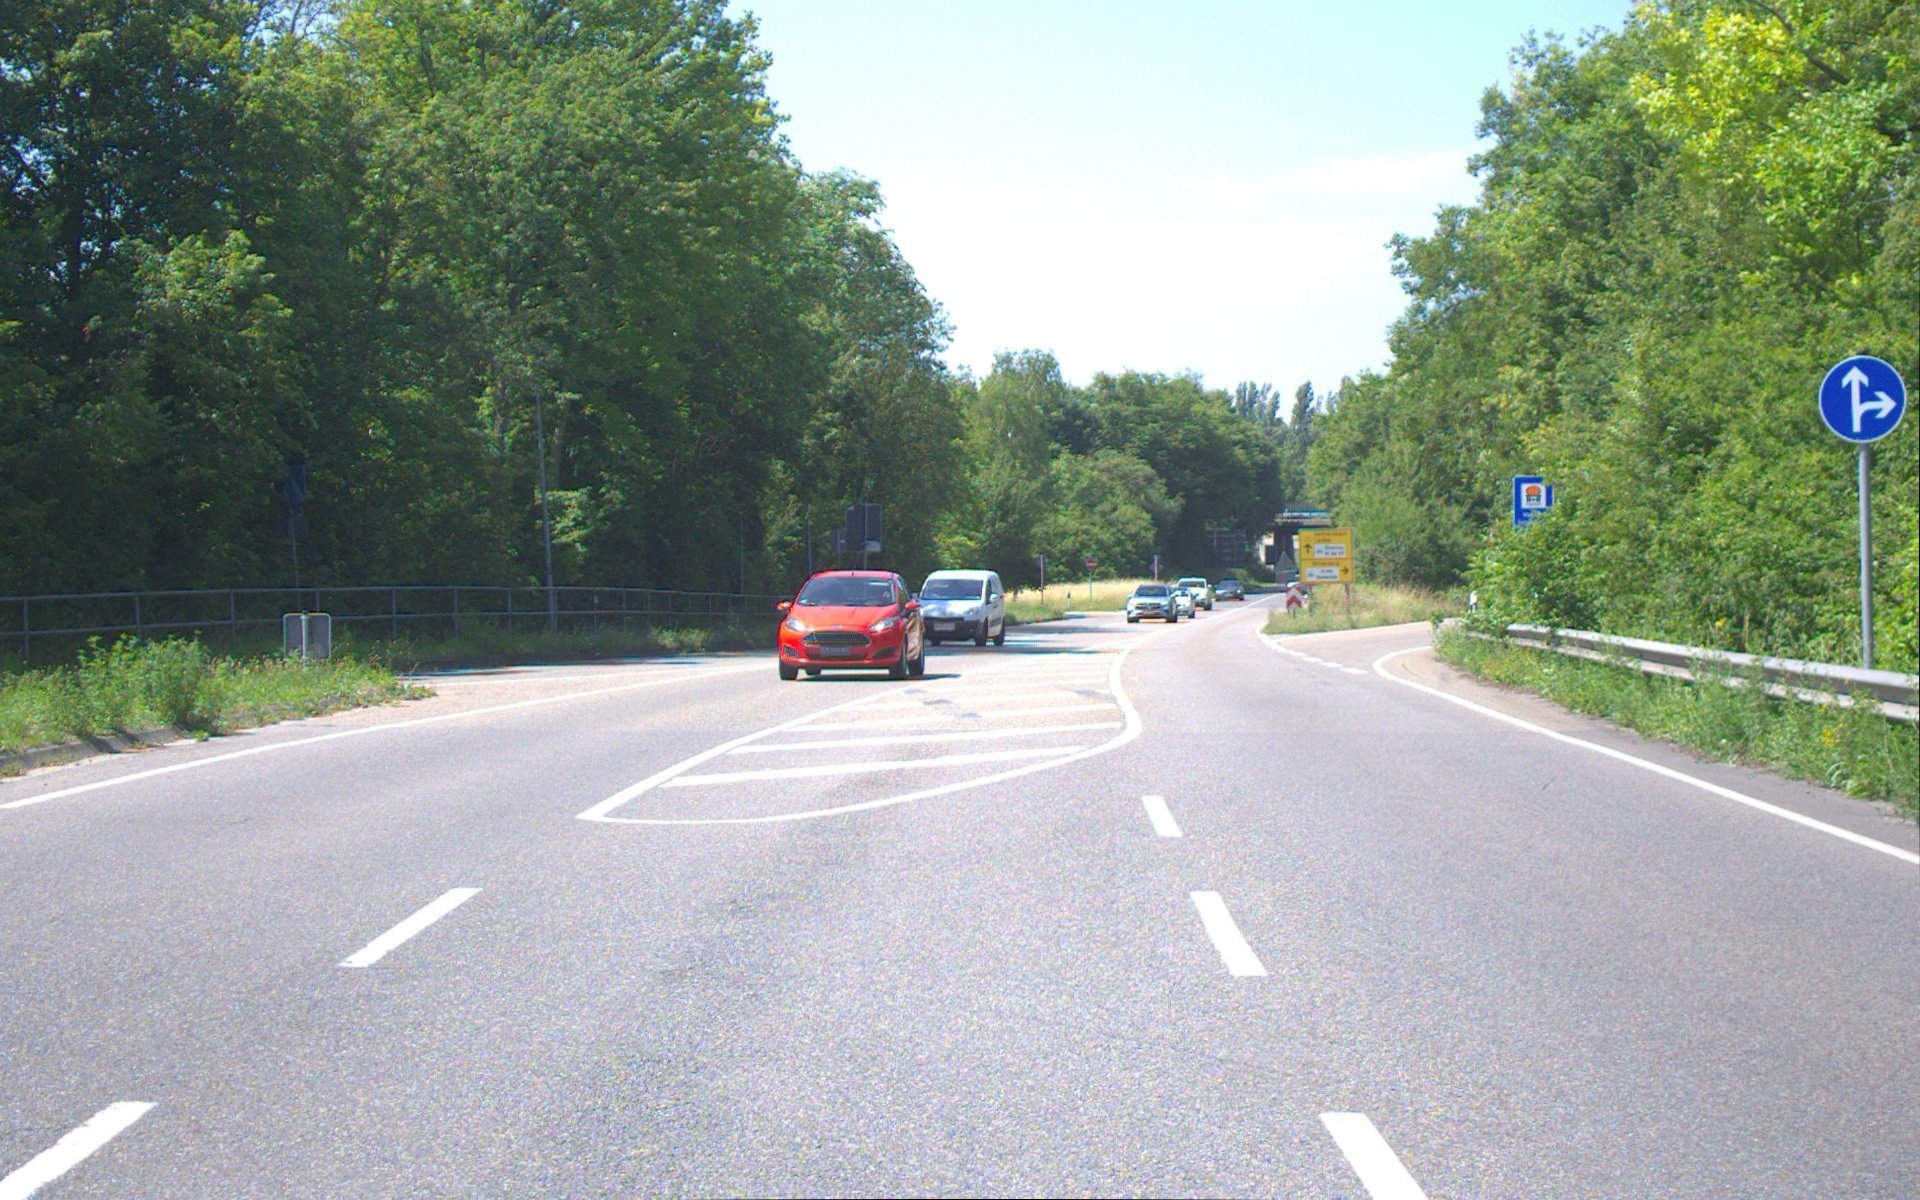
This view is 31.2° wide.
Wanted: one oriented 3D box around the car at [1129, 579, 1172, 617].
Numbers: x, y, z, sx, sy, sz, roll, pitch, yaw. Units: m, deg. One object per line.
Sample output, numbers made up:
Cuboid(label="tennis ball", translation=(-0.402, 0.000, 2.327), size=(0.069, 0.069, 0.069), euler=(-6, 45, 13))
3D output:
Cuboid(label="car", translation=(8.118, -0.086, 146.187), size=(1.677, 1.522, 3.999), euler=(0, 1, 5))

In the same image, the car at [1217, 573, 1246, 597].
Cuboid(label="car", translation=(17.678, -1.015, 223.909), size=(1.720, 1.504, 3.709), euler=(0, 1, 6))

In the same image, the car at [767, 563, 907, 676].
Cuboid(label="car", translation=(-1.633, 0.236, 46.839), size=(1.810, 1.453, 3.758), euler=(0, 1, -1))

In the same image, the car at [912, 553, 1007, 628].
Cuboid(label="car", translation=(0.008, -0.249, 81.882), size=(1.994, 1.724, 4.274), euler=(-1, 1, 3))

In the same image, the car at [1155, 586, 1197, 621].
Cuboid(label="car", translation=(10.162, 0.153, 161.556), size=(1.678, 1.522, 3.999), euler=(0, 1, 8))

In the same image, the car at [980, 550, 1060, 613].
Cuboid(label="car", translation=(3.093, -0.995, 178.743), size=(1.993, 3.215, 4.809), euler=(-1, 1, -28))
